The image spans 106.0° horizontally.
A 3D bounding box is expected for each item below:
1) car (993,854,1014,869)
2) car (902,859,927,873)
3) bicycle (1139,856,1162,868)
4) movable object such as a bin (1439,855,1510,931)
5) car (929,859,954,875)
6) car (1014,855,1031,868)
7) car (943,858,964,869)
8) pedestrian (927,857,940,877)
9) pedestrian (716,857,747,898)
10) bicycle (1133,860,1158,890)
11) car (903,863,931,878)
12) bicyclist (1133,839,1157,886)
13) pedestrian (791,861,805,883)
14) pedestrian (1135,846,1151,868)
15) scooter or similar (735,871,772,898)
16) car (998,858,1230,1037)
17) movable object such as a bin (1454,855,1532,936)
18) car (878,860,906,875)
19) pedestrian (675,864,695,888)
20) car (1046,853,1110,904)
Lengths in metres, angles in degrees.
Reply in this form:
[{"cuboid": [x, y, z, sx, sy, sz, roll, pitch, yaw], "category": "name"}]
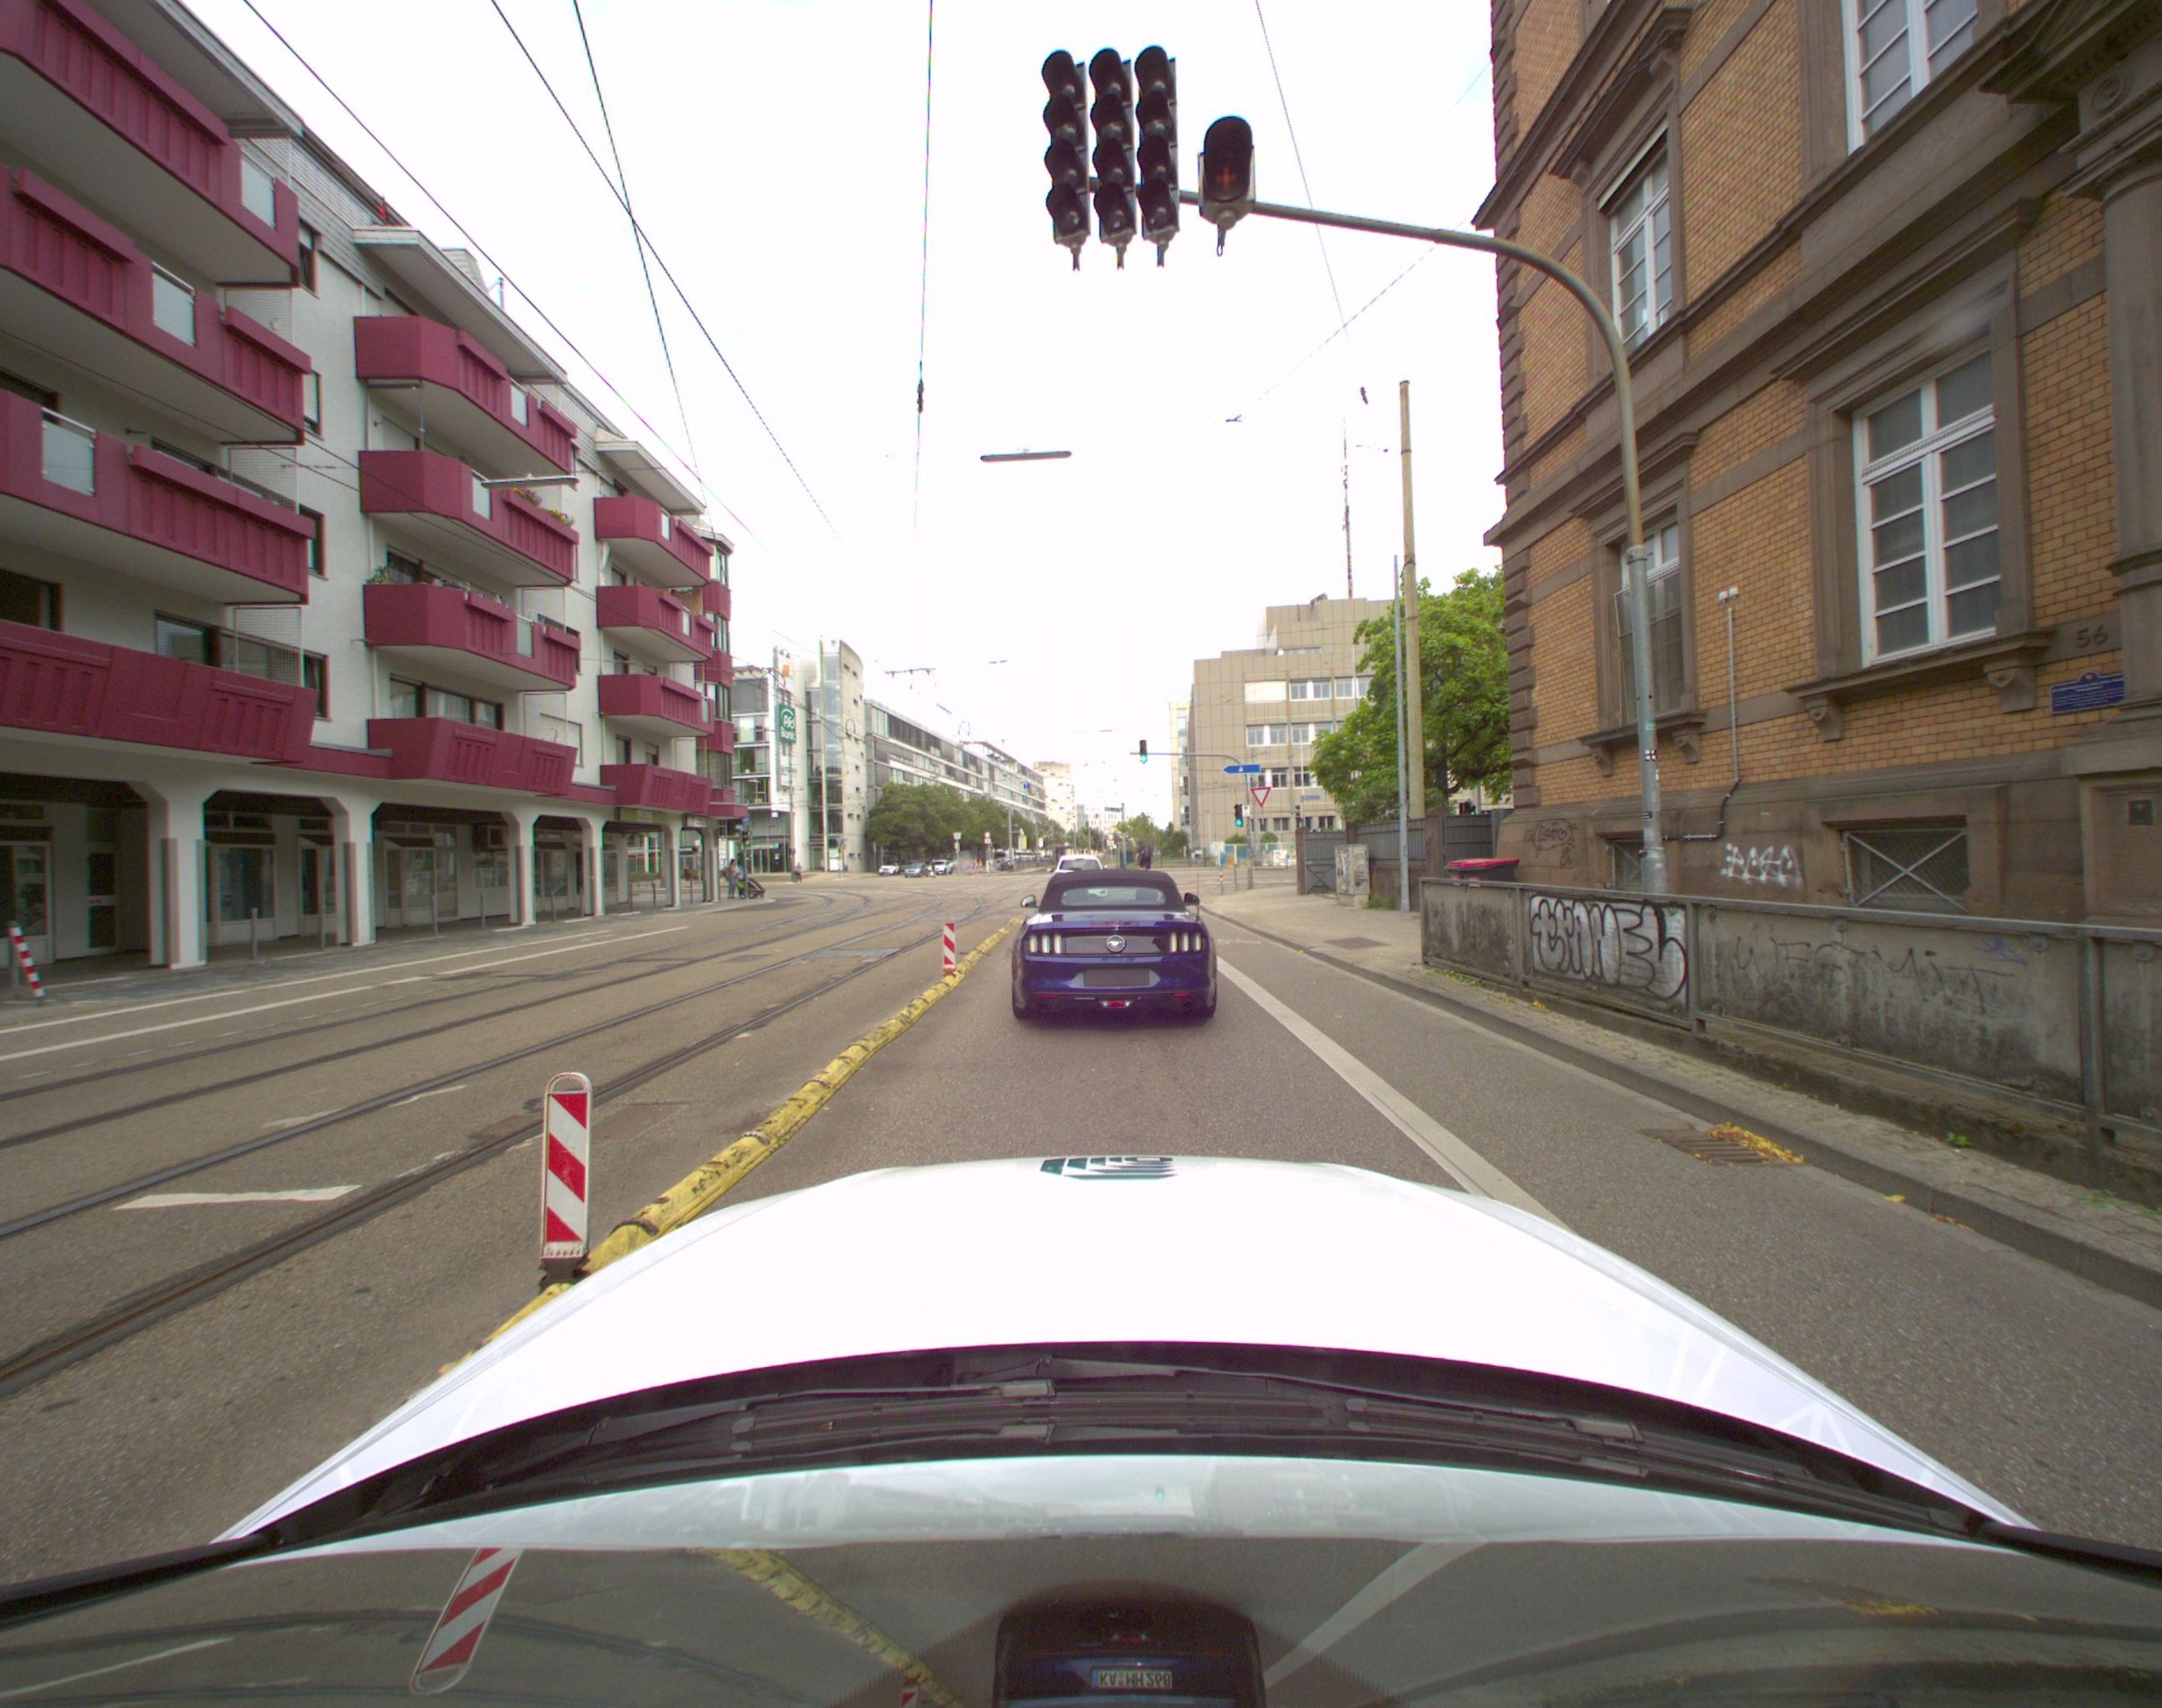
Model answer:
[{"cuboid": [-9.282, 0.916, 97.659, 1.872, 1.628, 4.089, -2, 0, 2], "category": "car"}, {"cuboid": [-20.141, 1.409, 98.809, 1.820, 1.556, 4.223, 0, 0, 6], "category": "car"}, {"cuboid": [6.202, 0.732, 72.465, 0.637, 0.981, 2.133, -2, -2, -40], "category": "bicycle"}, {"cuboid": [6.054, 0.587, 12.545, 0.649, 1.082, 0.677, -5, -1, -4], "category": "movable object such as a bin"}, {"cuboid": [-15.799, 1.440, 92.409, 1.706, 1.660, 4.140, 0, 0, 6], "category": "car"}, {"cuboid": [-8.011, 0.965, 111.173, 1.861, 1.605, 4.214, -2, 0, 2], "category": "car"}, {"cuboid": [-18.308, 1.382, 116.984, 1.978, 1.556, 4.516, 0, 0, 3], "category": "car"}, {"cuboid": [-14.011, 1.262, 77.302, 0.985, 1.855, 0.903, -2, 0, 3], "category": "pedestrian"}, {"cuboid": [-15.269, 1.036, 35.626, 0.945, 1.743, 0.811, -2, 0, -2], "category": "pedestrian"}, {"cuboid": [2.535, 0.822, 32.058, 0.798, 1.086, 2.131, -2, 0, 0], "category": "bicycle"}, {"cuboid": [-16.790, 1.674, 83.593, 1.659, 1.506, 4.242, 0, 0, 6], "category": "car"}, {"cuboid": [2.511, 0.321, 32.083, 0.793, 1.785, 1.233, -2, 0, 0], "category": "bicyclist"}, {"cuboid": [-25.327, 1.603, 72.896, 0.828, 1.865, 0.769, -2, 0, 14], "category": "pedestrian"}, {"cuboid": [5.484, 0.275, 71.880, 1.075, 1.898, 0.907, -2, 0, 39], "category": "pedestrian"}, {"cuboid": [-14.334, 1.335, 35.679, 1.192, 1.128, 0.946, -1, 0, -1], "category": "scooter or similar"}, {"cuboid": [0.345, 0.771, 8.742, 1.869, 1.404, 4.284, 0, 0, 2], "category": "car"}, {"cuboid": [5.972, 0.589, 11.830, 0.662, 1.082, 0.700, -5, -1, -3], "category": "movable object such as a bin"}, {"cuboid": [-21.255, 1.507, 91.632, 1.820, 1.556, 4.223, 0, 0, 6], "category": "car"}, {"cuboid": [-28.584, 1.584, 58.763, 0.928, 1.671, 0.769, -2, 0, 14], "category": "pedestrian"}, {"cuboid": [-0.160, 0.732, 26.147, 1.831, 1.439, 4.183, -2, 0, -2], "category": "car"}]
